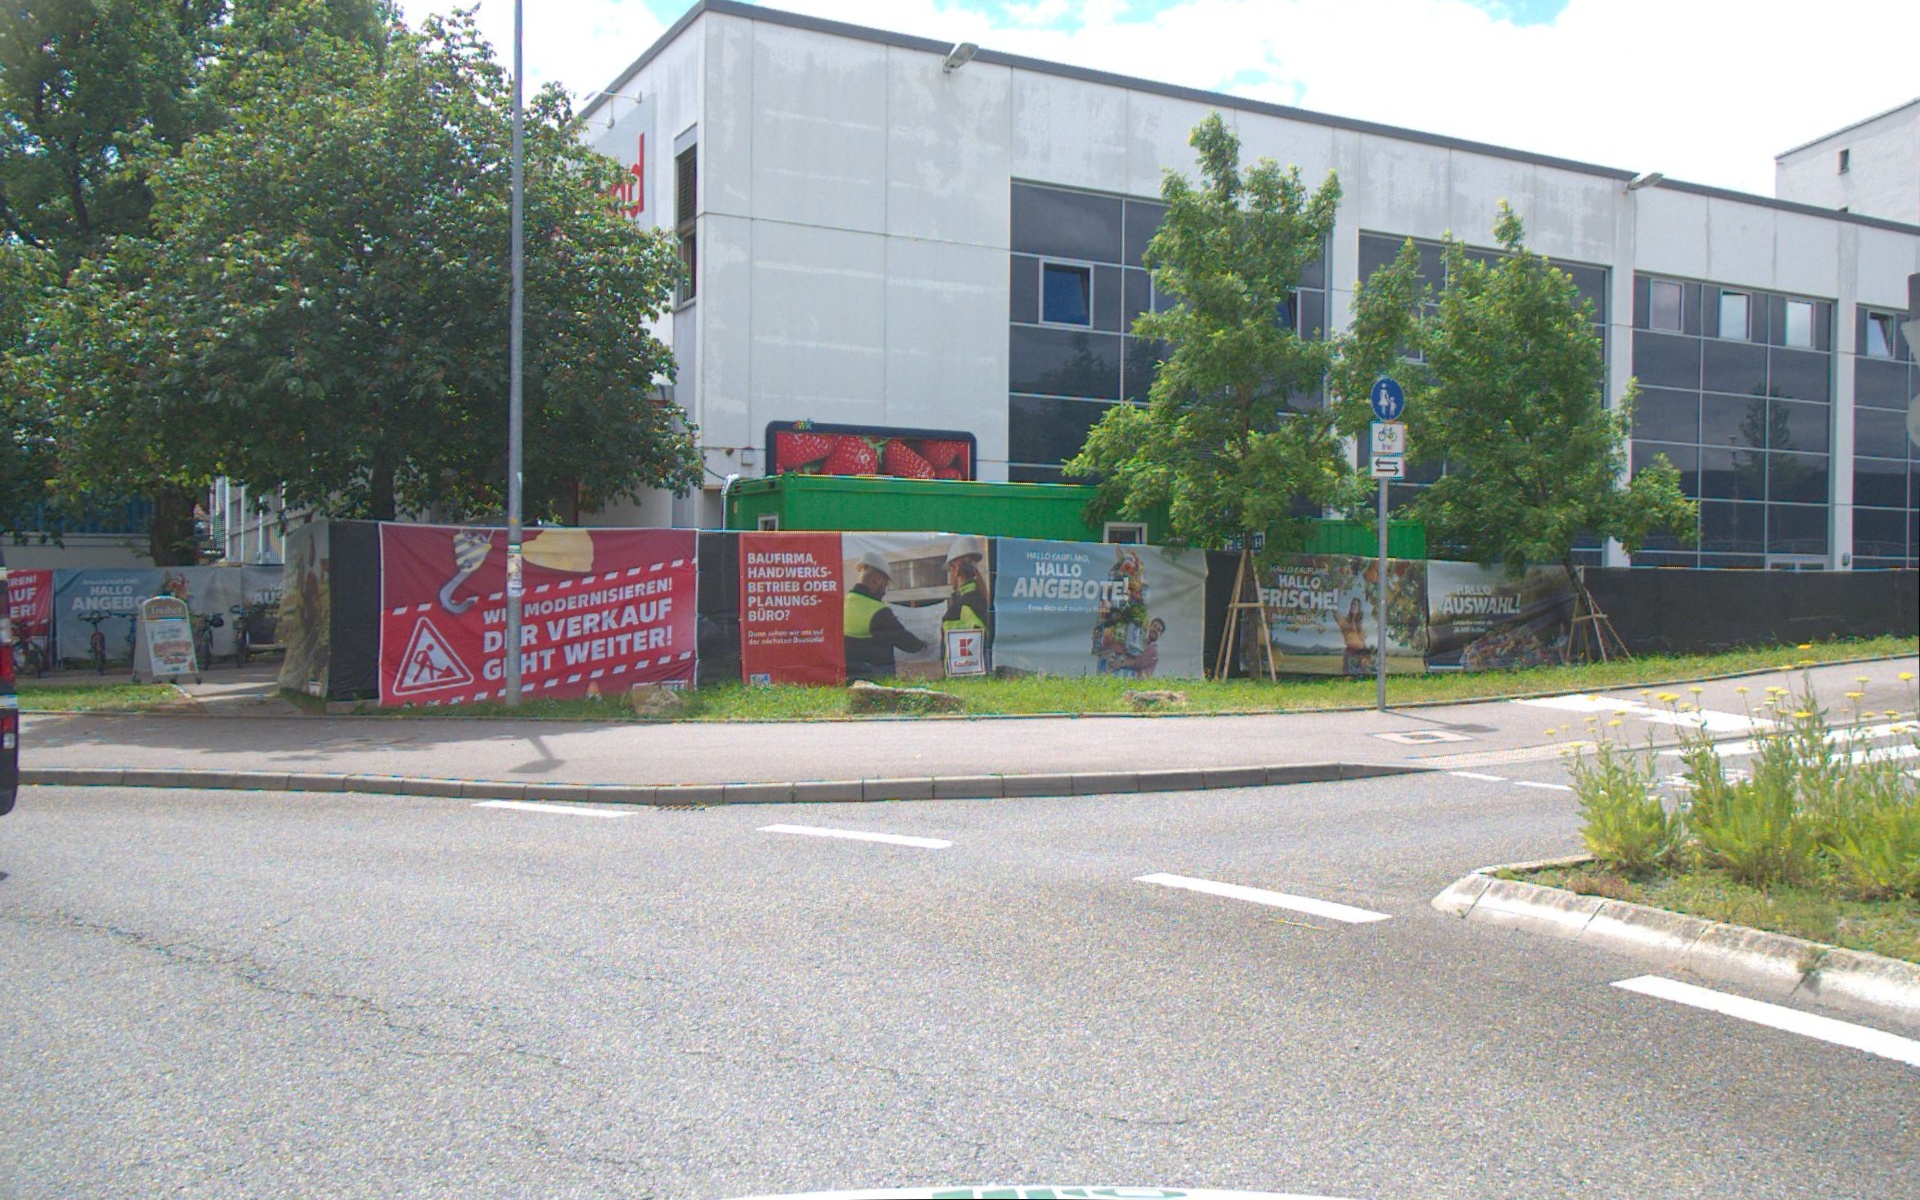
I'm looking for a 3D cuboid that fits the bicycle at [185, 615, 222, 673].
[{"bbox_3d":[-14.979,0.852,32.729,0.622,1.068,1.953,2,0,-25],"label":"bicycle"}]

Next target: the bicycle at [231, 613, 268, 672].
[{"bbox_3d":[-14.091,0.834,32.811,0.621,1.083,1.955,2,0,-23],"label":"bicycle"}]

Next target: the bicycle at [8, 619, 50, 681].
[{"bbox_3d":[-17.543,0.923,31.153,0.623,1.068,2.050,2,0,-31],"label":"bicycle"}]

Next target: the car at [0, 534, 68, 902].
[{"bbox_3d":[-7.584,0.555,9.568,4.886,1.979,2.037,2,0,31],"label":"car"}]

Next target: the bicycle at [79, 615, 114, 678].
[{"bbox_3d":[-16.622,0.882,31.868,0.522,1.113,2.054,2,0,-26],"label":"bicycle"}]
